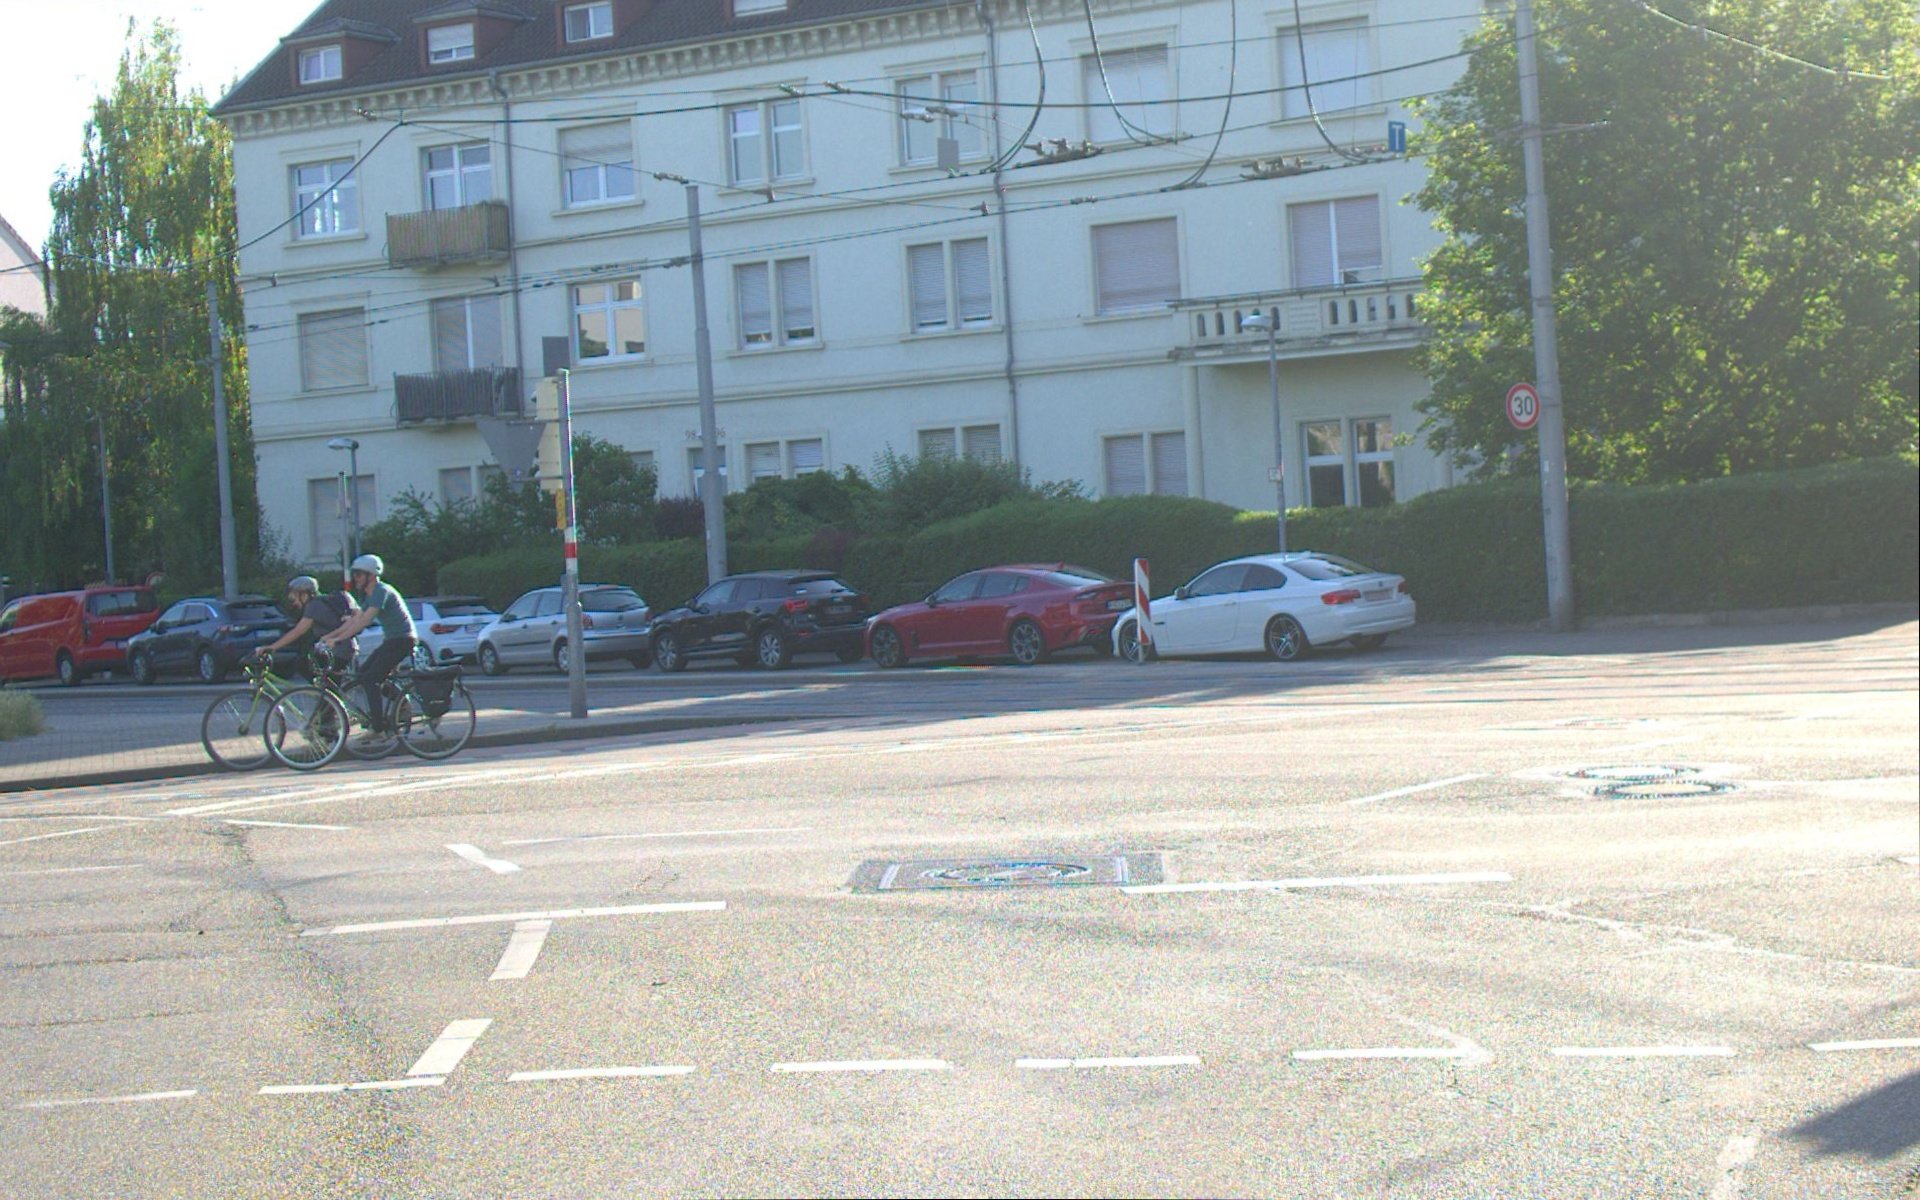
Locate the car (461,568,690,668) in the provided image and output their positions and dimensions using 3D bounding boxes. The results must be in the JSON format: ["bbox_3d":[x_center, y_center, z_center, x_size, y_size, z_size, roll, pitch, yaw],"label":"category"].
[{"bbox_3d":[-6.497,0.319,57.880,1.982,1.442,3.717,-7,3,-41],"label":"car"}]

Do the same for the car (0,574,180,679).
[{"bbox_3d":[-18.649,0.576,72.252,2.051,1.955,5.148,-7,3,-41],"label":"car"}]

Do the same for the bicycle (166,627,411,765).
[{"bbox_3d":[-5.836,0.826,29.969,2.012,1.065,0.664,-3,1,-8],"label":"bicycle"}]

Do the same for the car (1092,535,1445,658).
[{"bbox_3d":[4.089,-0.028,46.127,1.926,1.371,4.494,-7,3,-42],"label":"car"}]

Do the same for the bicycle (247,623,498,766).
[{"bbox_3d":[-4.944,0.788,28.990,2.012,1.065,0.664,-3,1,-9],"label":"bicycle"}]

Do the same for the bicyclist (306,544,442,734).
[{"bbox_3d":[-4.932,0.318,28.985,1.034,1.526,0.698,-3,1,-8],"label":"bicyclist"}]

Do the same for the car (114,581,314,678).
[{"bbox_3d":[-14.612,0.594,67.211,1.840,1.662,4.368,-7,3,-41],"label":"car"}]

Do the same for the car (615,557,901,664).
[{"bbox_3d":[-3.262,0.185,54.633,1.982,1.442,4.703,-7,3,-41],"label":"car"}]

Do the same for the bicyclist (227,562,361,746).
[{"bbox_3d":[-5.795,0.461,29.970,1.034,1.526,0.661,-3,1,-8],"label":"bicyclist"}]

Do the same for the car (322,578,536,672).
[{"bbox_3d":[-9.510,0.462,61.374,1.840,1.442,3.957,-7,3,-41],"label":"car"}]

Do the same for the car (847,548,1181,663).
[{"bbox_3d":[0.749,0.098,50.123,4.702,1.371,1.982,-2,3,44],"label":"car"}]
